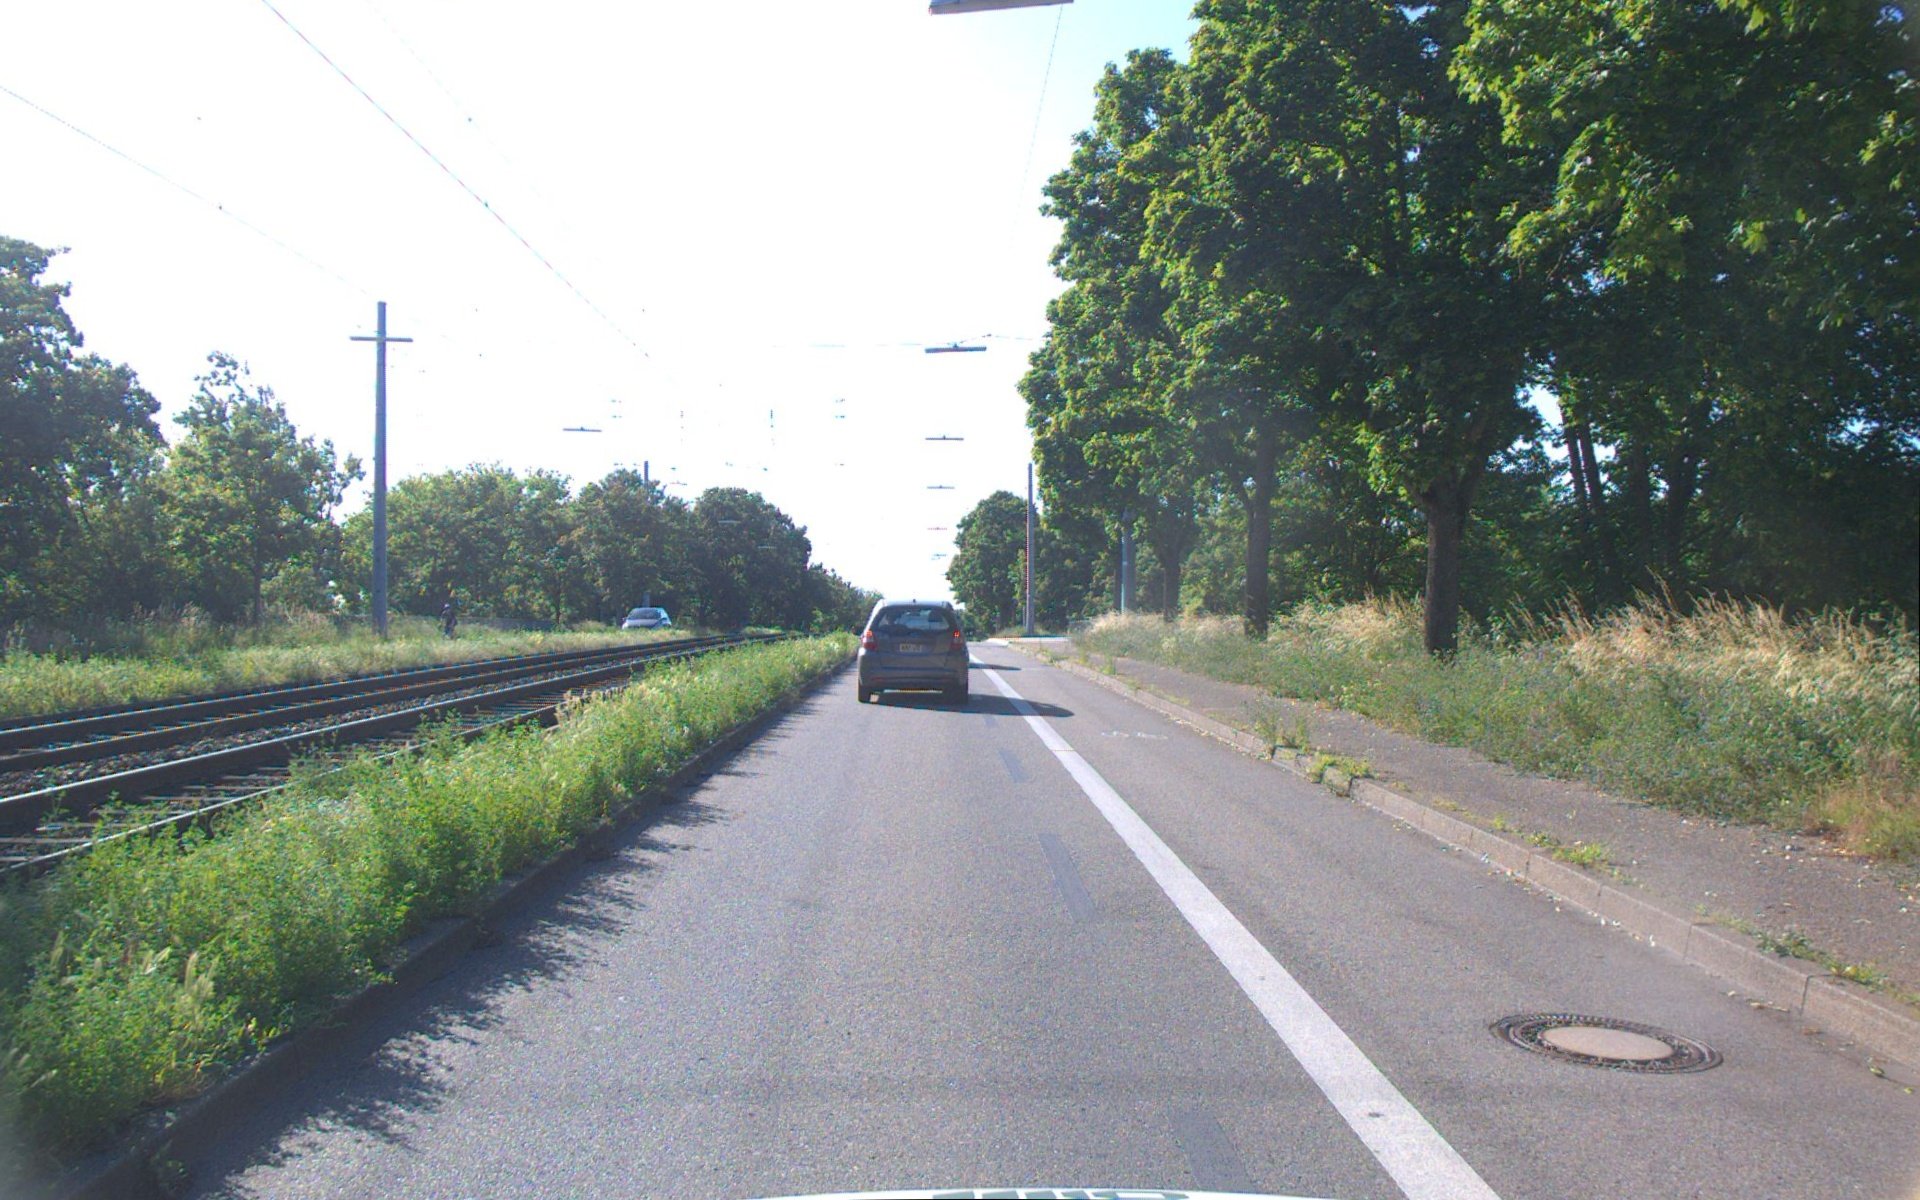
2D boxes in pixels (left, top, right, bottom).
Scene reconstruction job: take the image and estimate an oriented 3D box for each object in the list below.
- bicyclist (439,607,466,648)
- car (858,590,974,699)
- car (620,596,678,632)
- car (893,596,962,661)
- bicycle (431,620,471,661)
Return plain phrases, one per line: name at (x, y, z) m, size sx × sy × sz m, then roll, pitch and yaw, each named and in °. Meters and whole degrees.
bicyclist at (-16.792, 0.907, 54.736) m, size 0.570 × 1.333 × 0.987 m, roll 1°, pitch 0°, yaw -1°
car at (-0.641, 0.637, 25.657) m, size 1.636 × 1.534 × 3.810 m, roll 1°, pitch 0°, yaw -1°
car at (-14.078, 0.608, 75.080) m, size 1.772 × 1.515 × 4.406 m, roll 1°, pitch 0°, yaw 0°
car at (-0.798, 0.687, 41.945) m, size 1.621 × 1.534 × 3.810 m, roll 1°, pitch 0°, yaw -1°
bicycle at (-16.809, 1.313, 54.691) m, size 0.578 × 1.283 × 2.427 m, roll 1°, pitch 0°, yaw -1°
